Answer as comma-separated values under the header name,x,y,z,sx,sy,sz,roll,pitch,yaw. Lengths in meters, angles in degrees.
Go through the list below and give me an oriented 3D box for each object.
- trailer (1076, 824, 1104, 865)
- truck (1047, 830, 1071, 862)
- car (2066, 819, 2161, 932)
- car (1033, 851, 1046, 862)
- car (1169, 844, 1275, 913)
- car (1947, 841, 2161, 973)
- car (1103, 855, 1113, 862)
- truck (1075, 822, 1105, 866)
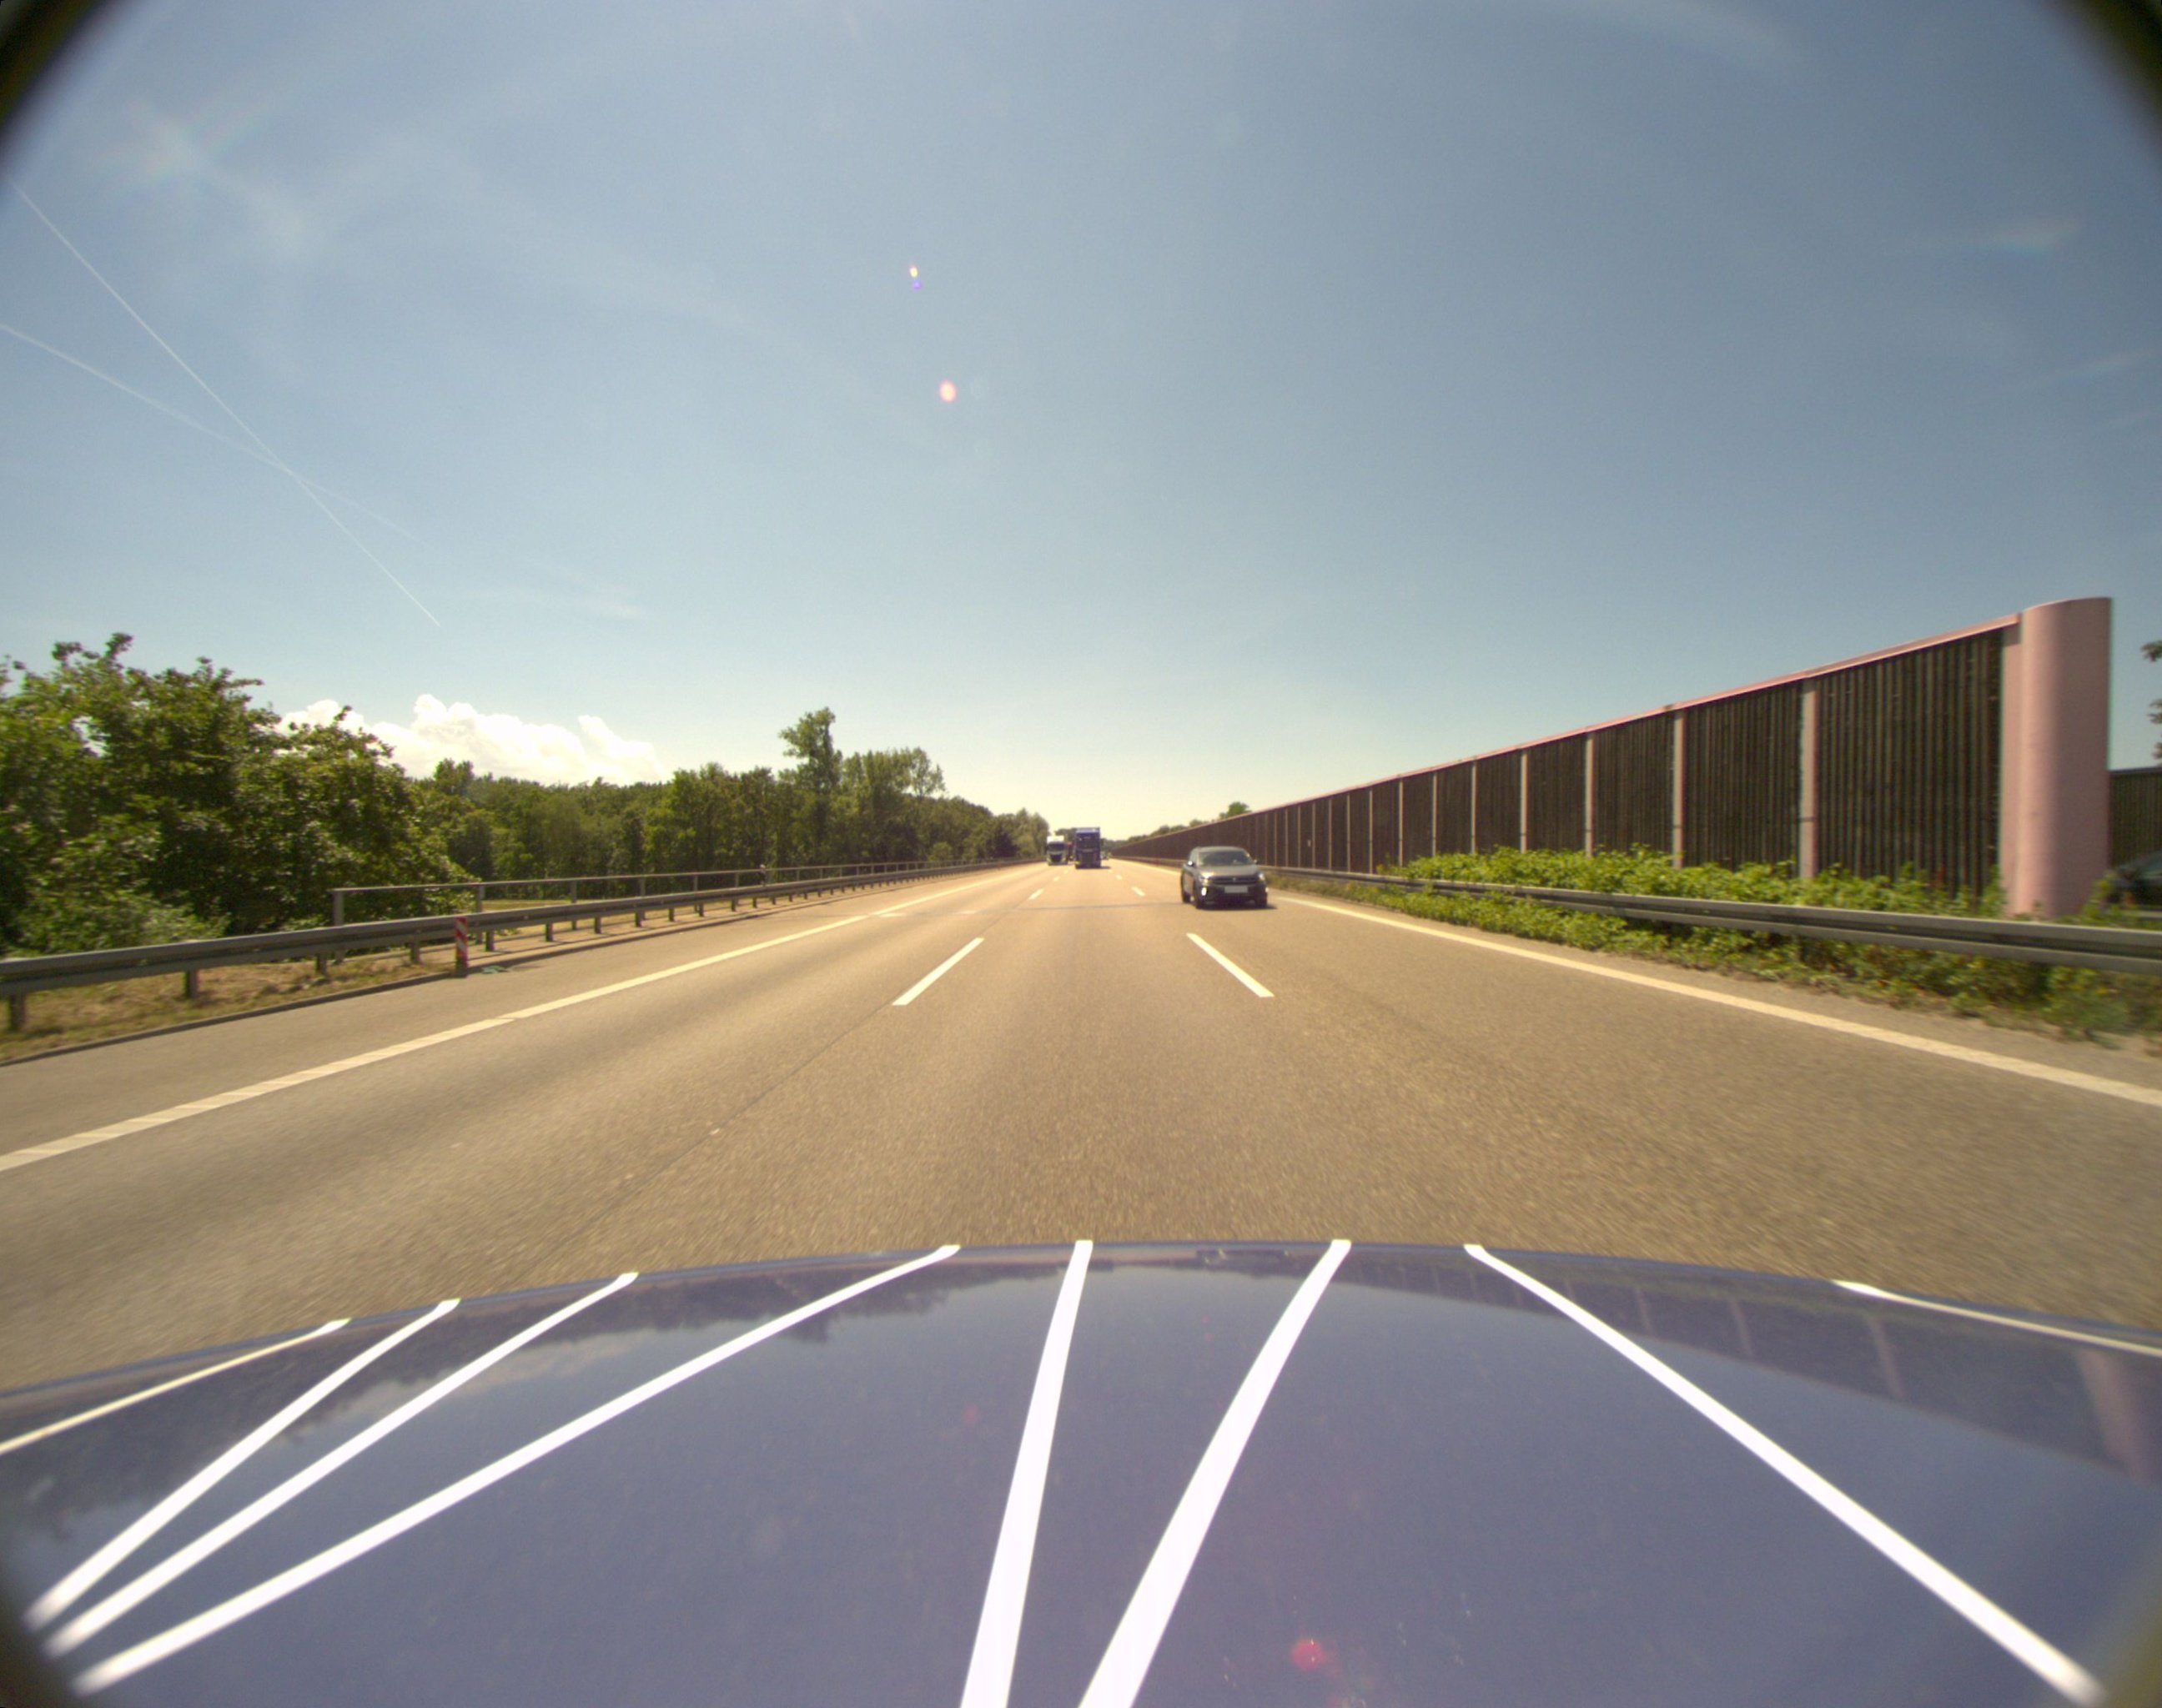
name,x,y,z,sx,sy,sz,roll,pitch,yaw
trailer,0.948,-0.933,81.741,2.707,4.093,12.131,-2,0,1
truck,-3.034,-1.057,107.382,2.820,4.139,10.448,-2,0,0
car,20.888,0.382,13.025,1.894,2.075,4.766,-1,0,1
car,-6.984,0.435,127.497,1.935,1.805,4.000,-2,0,-1
car,3.677,0.604,20.744,1.885,1.630,5.008,-1,0,-1
car,12.999,0.589,7.964,1.894,1.446,5.270,-1,0,1
car,5.992,0.949,170.624,2.045,1.559,4.000,-2,0,1
truck,0.878,-0.948,74.622,2.707,4.093,6.990,-2,0,0
